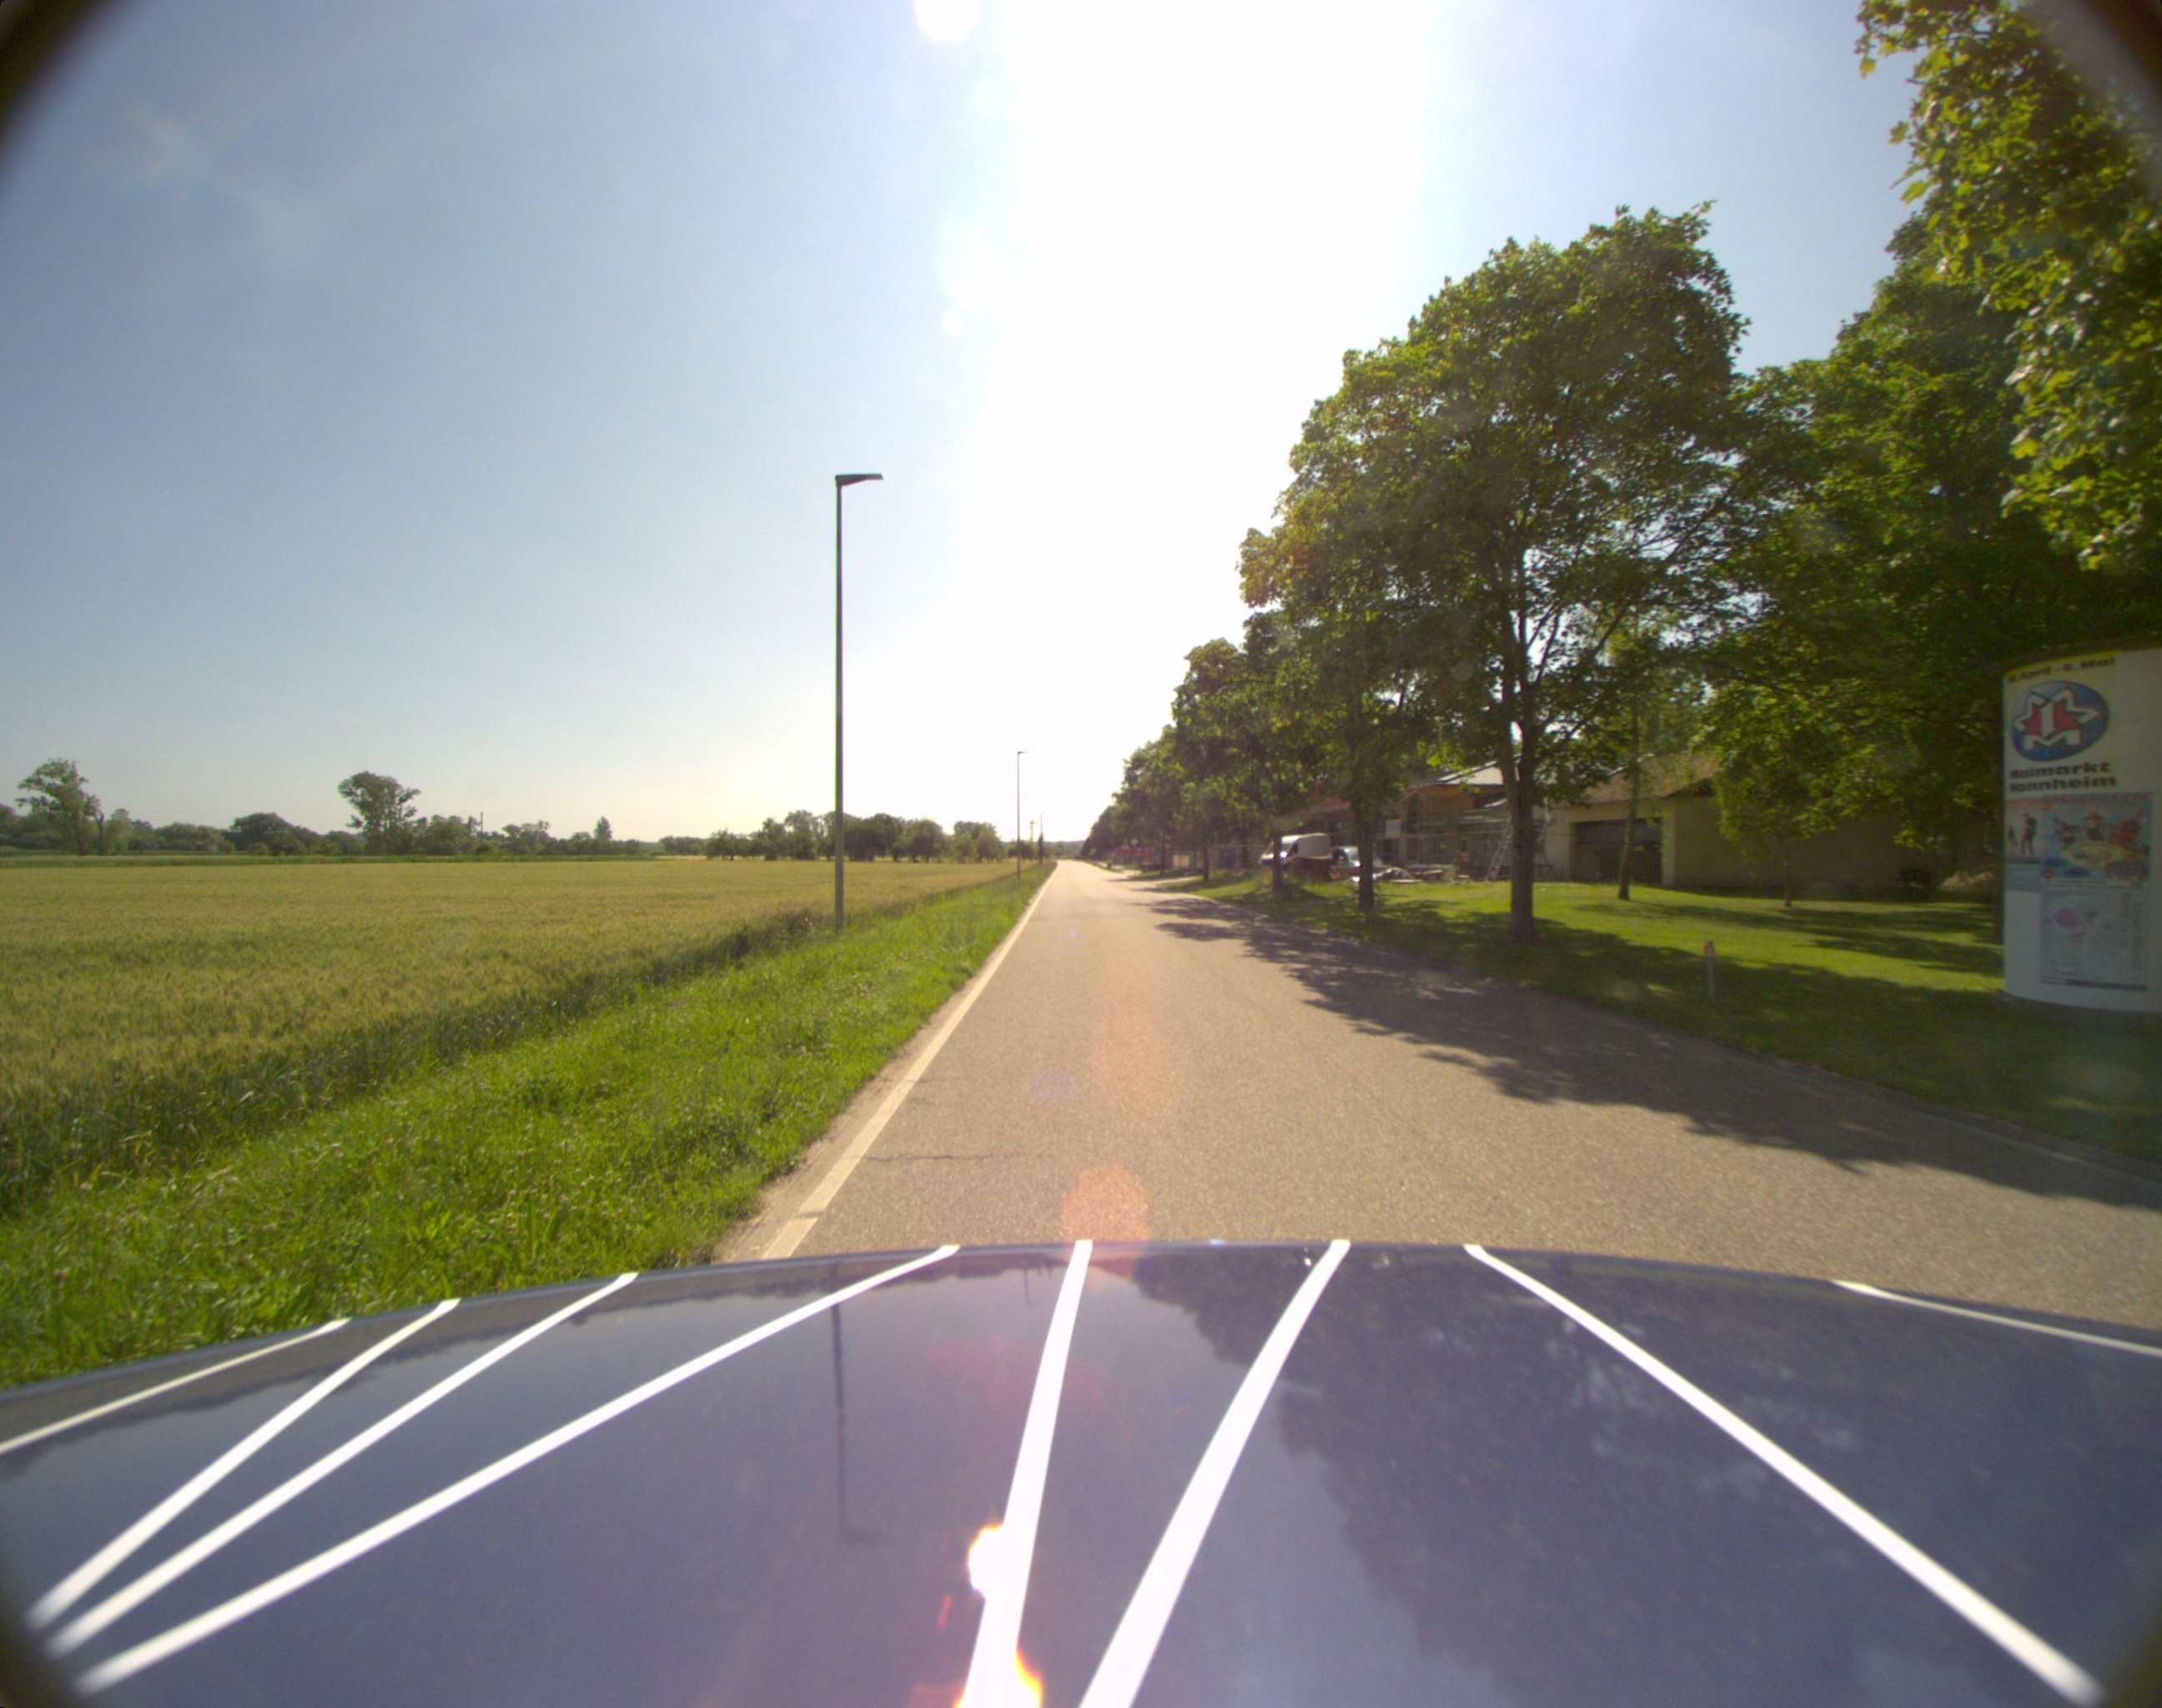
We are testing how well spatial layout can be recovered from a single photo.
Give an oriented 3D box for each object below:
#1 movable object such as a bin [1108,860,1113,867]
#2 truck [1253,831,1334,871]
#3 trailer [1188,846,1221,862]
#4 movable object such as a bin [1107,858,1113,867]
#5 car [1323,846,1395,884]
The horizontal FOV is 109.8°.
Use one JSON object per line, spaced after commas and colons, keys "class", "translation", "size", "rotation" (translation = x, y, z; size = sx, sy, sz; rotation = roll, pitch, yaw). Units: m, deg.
{"class": "movable object such as a bin", "translation": [3.516, 1.132, 90.953], "size": [0.563, 0.872, 0.614], "rotation": [1, 1, 7]}
{"class": "truck", "translation": [14.096, -0.222, 50.257], "size": [5.943, 2.469, 1.994], "rotation": [-1, 1, -38]}
{"class": "trailer", "translation": [17.577, 0.015, 107.905], "size": [4.240, 2.264, 1.826], "rotation": [0, 0, -15]}
{"class": "movable object such as a bin", "translation": [3.535, 1.050, 91.647], "size": [0.700, 1.018, 0.748], "rotation": [1, 1, 7]}
{"class": "car", "translation": [14.151, 0.510, 38.925], "size": [1.976, 1.827, 4.327], "rotation": [-1, 0, -2]}
